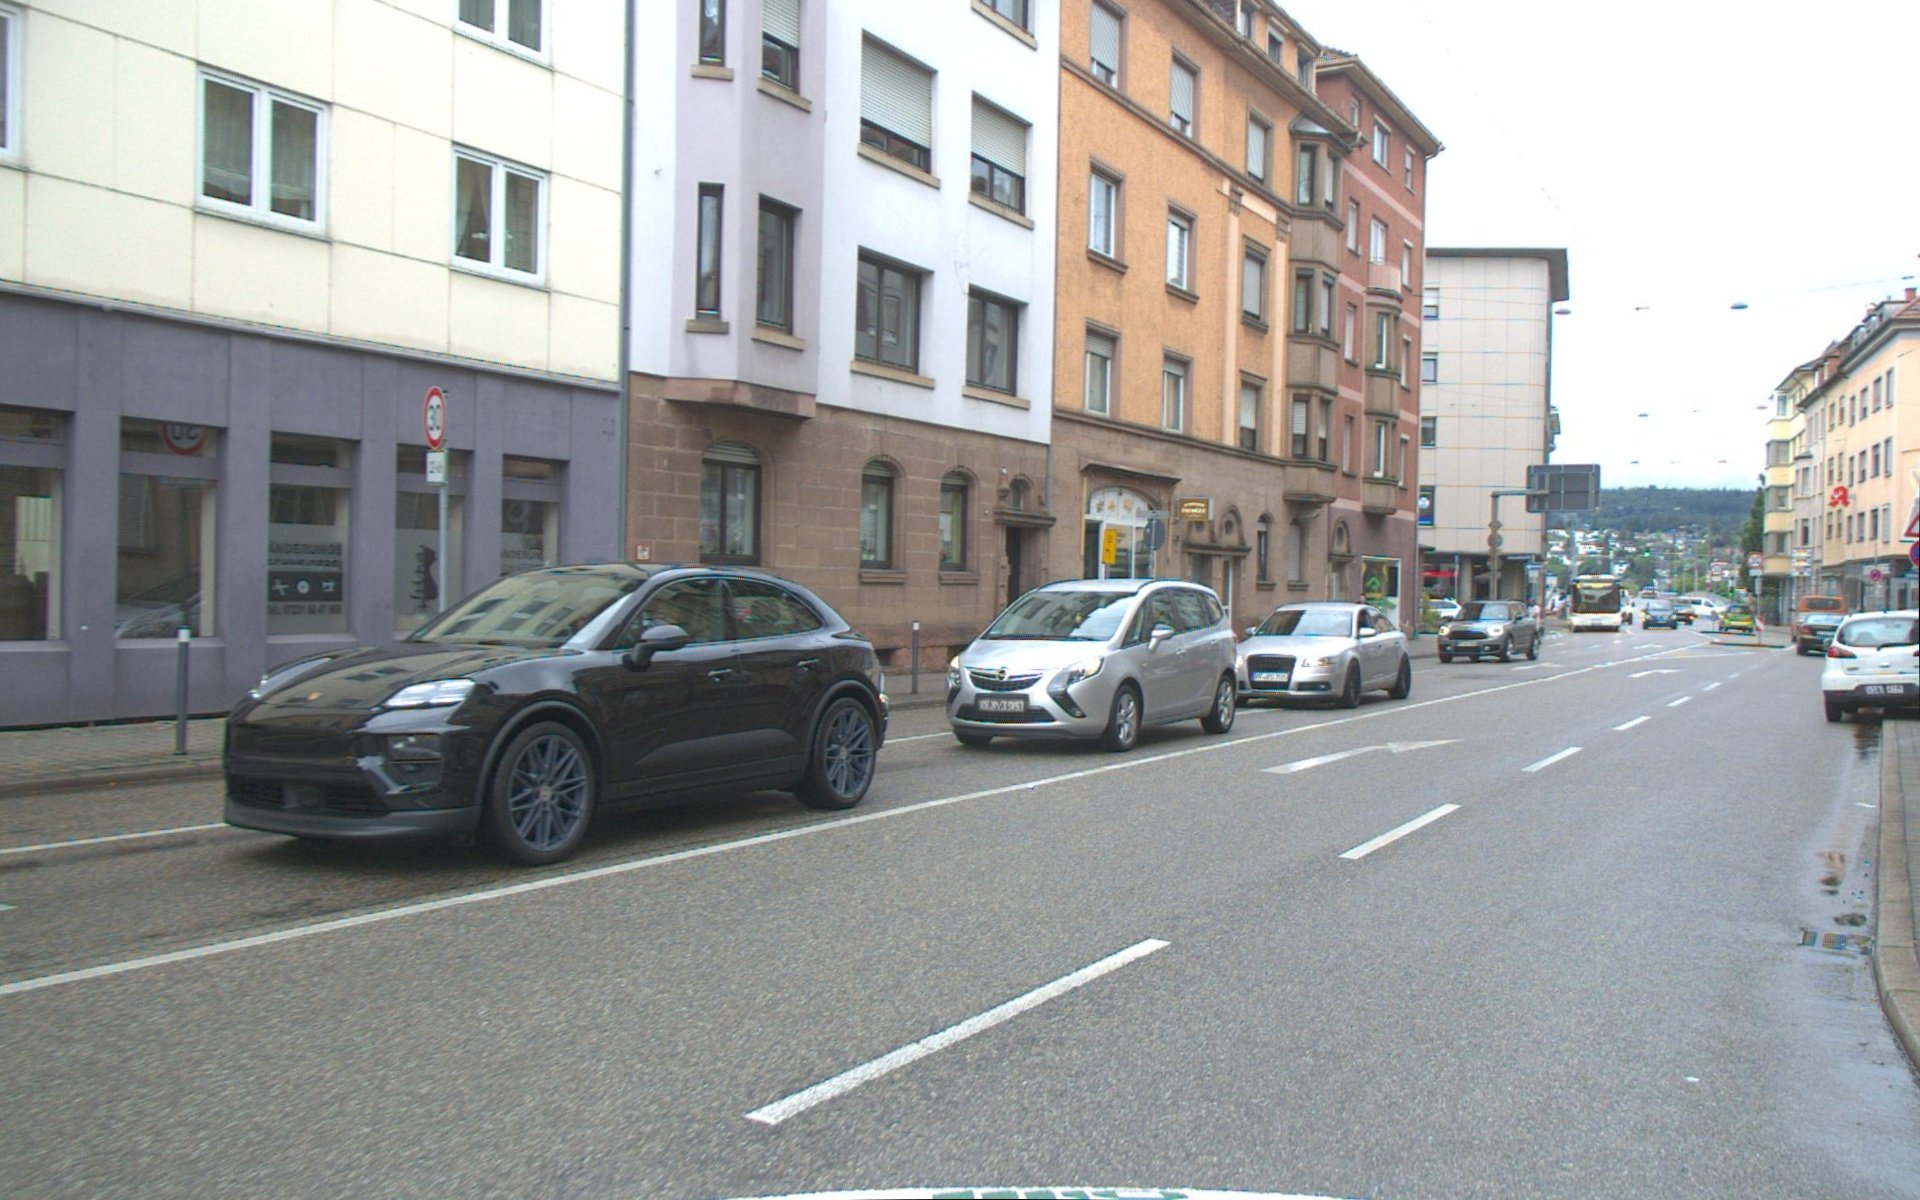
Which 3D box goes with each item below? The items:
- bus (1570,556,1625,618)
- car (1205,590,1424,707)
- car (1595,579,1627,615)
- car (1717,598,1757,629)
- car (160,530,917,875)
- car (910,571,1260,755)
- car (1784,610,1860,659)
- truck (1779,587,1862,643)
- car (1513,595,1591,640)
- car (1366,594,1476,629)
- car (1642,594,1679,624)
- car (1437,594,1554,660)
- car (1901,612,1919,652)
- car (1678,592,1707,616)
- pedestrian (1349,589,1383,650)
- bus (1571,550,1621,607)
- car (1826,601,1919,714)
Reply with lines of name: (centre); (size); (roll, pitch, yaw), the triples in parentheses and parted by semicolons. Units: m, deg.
bus: (35.230, -0.683, 91.550); (2.702, 3.244, 8.912); (1, 0, 20)
car: (5.253, 0.653, 24.048); (1.906, 1.496, 4.552); (1, 0, 29)
car: (46.738, -0.214, 118.699); (2.044, 2.478, 6.351); (1, 0, 22)
car: (44.296, 0.780, 94.311); (1.718, 1.680, 4.000); (1, 0, 21)
car: (-2.241, 0.489, 10.202); (1.906, 1.611, 4.598); (1, 0, 29)
car: (1.451, 0.570, 17.045); (1.906, 1.611, 4.513); (1, 0, 29)
car: (28.187, 1.092, 54.160); (1.718, 1.505, 4.000); (1, 0, 21)
truck: (35.222, 0.608, 67.825); (2.350, 2.167, 5.315); (1, 0, 20)
car: (21.633, 0.615, 60.315); (1.816, 1.421, 4.784); (5, 2, 29)
car: (21.278, 0.530, 76.431); (4.532, 1.559, 1.906); (1, 0, 1)
car: (40.638, 0.535, 96.023); (1.718, 1.680, 4.308); (1, 0, 20)
car: (14.172, 0.703, 43.616); (1.945, 1.623, 4.326); (1, 0, 32)
car: (40.376, 1.331, 66.943); (3.748, 1.601, 1.935); (1, 0, 24)
car: (54.778, 0.314, 123.706); (1.718, 1.680, 4.000); (1, 0, 21)
pedestrian: (11.733, 0.568, 47.826); (0.825, 1.708, 0.854); (3, 0, 17)
bus: (38.447, -1.243, 100.123); (2.669, 3.244, 9.293); (1, 0, 20)
car: (13.989, 0.813, 24.729); (1.617, 1.520, 4.438); (1, 0, 31)
